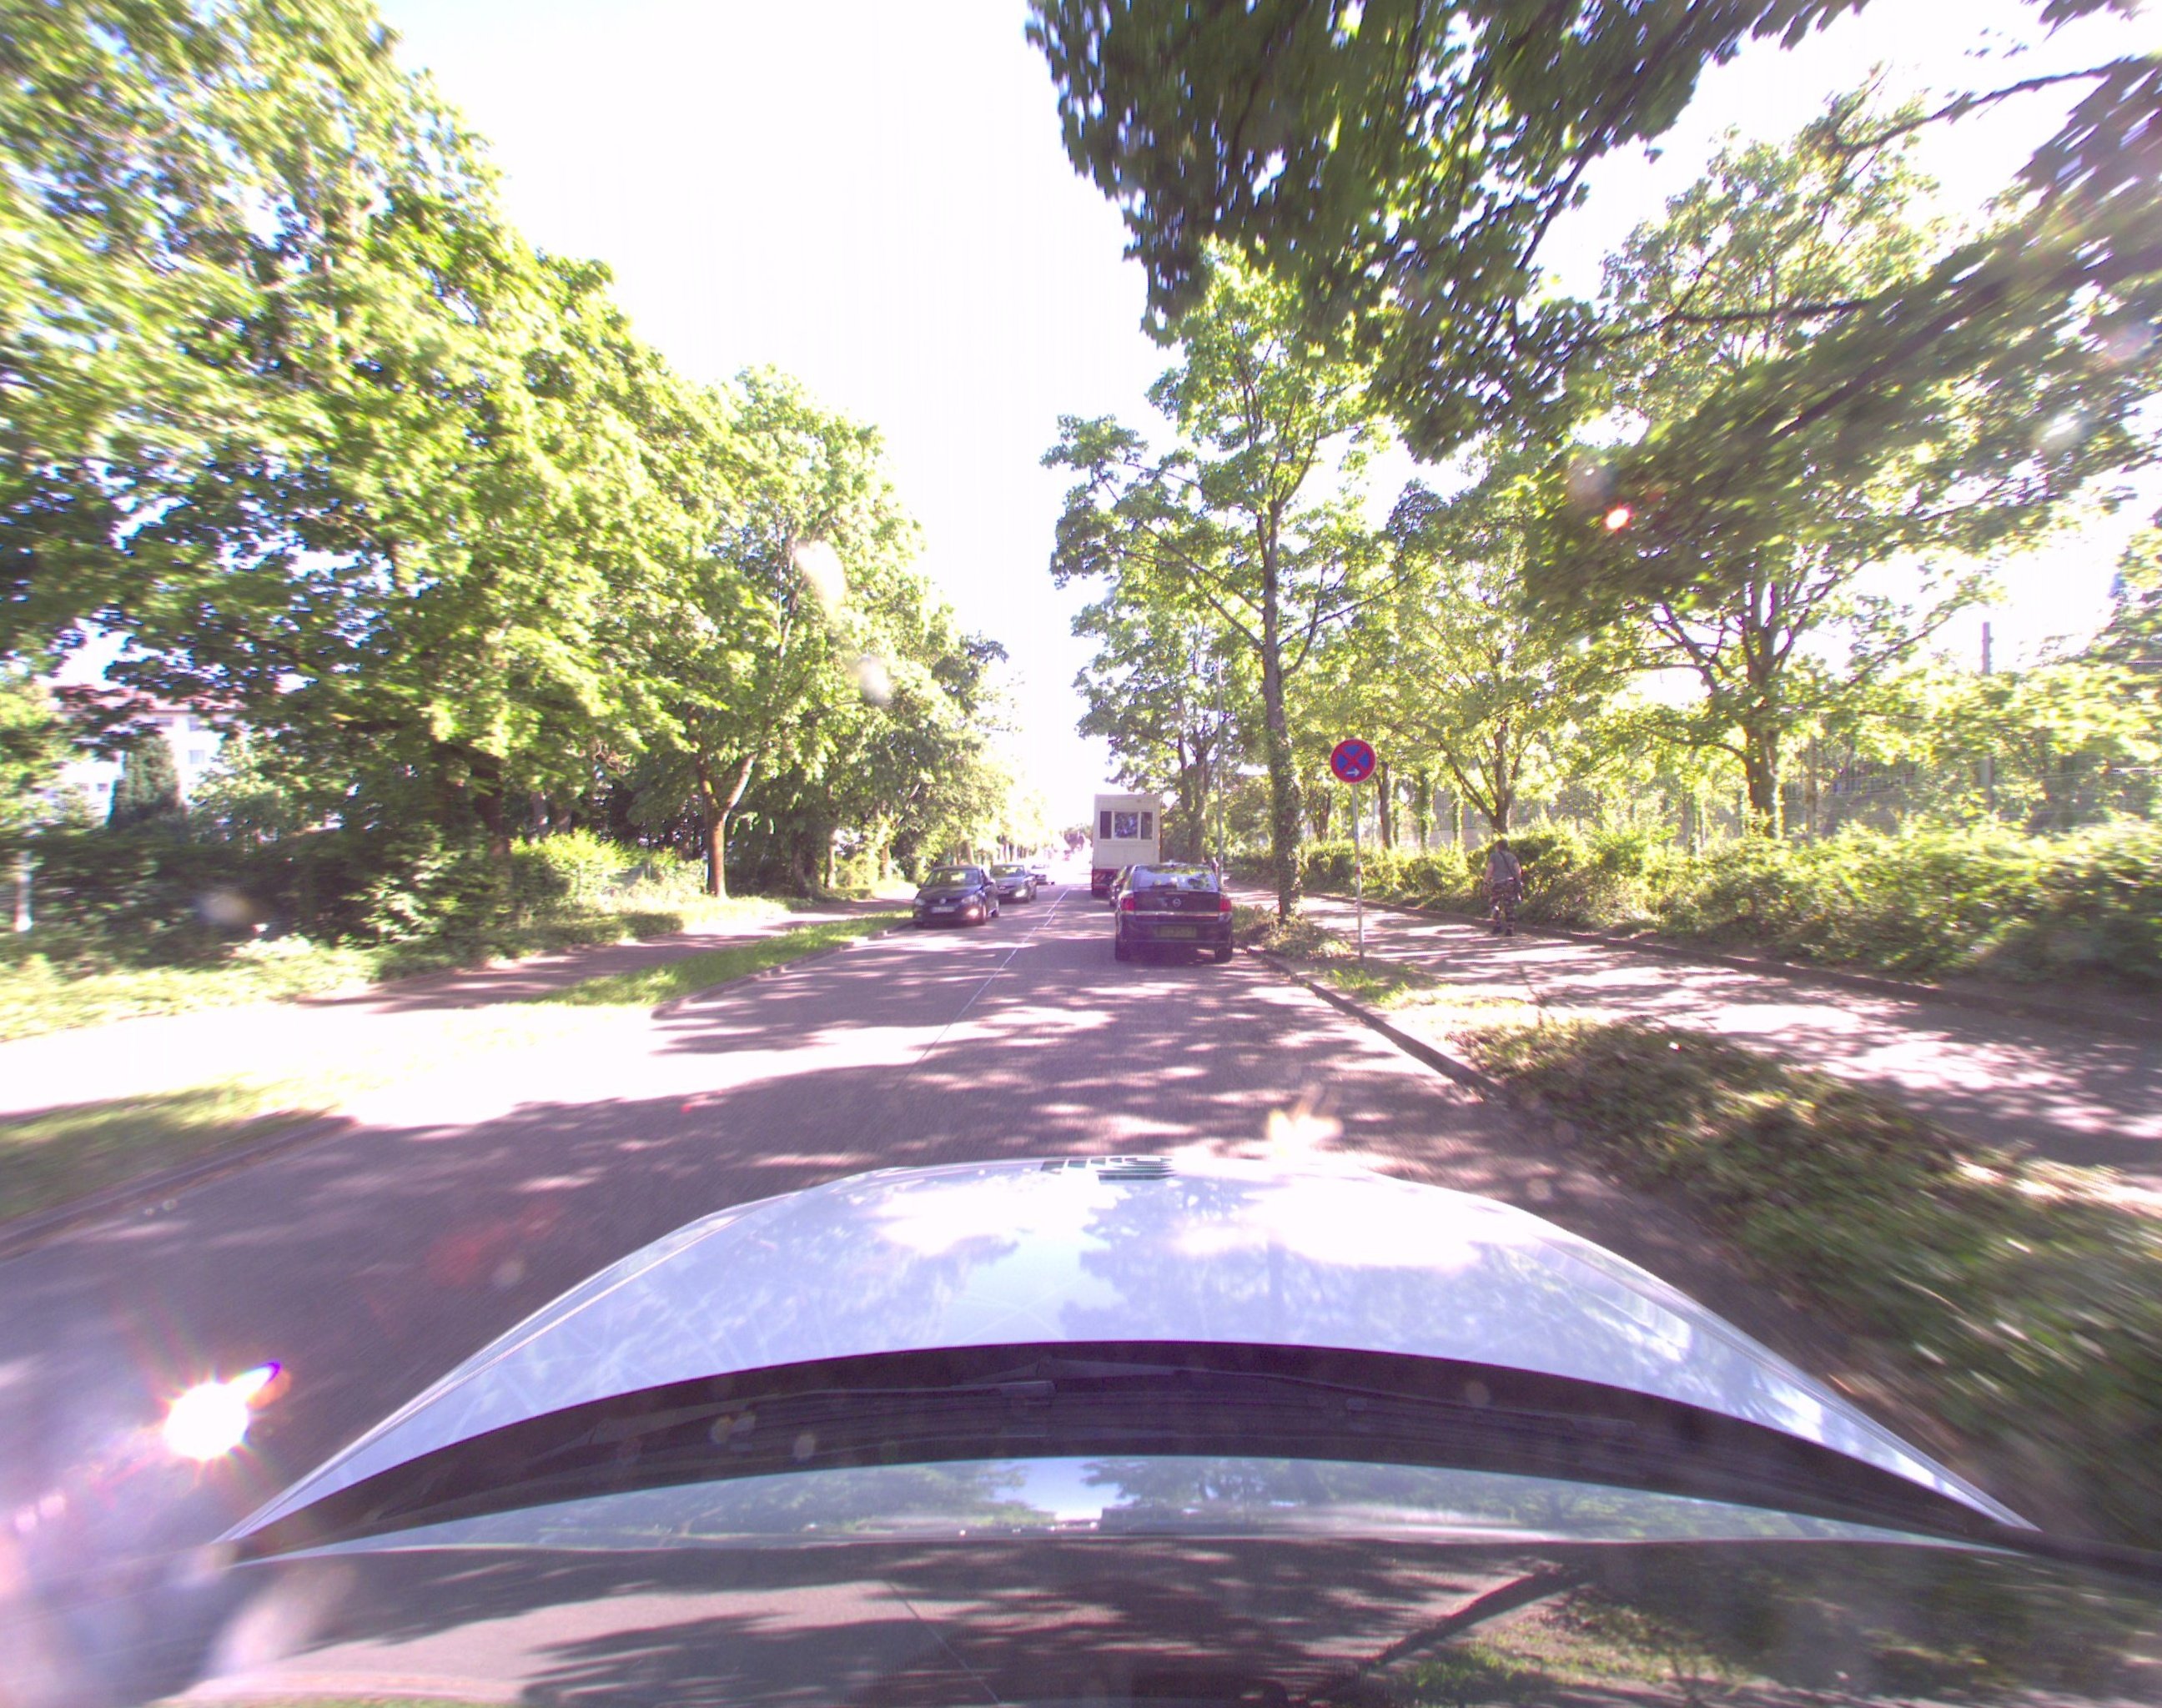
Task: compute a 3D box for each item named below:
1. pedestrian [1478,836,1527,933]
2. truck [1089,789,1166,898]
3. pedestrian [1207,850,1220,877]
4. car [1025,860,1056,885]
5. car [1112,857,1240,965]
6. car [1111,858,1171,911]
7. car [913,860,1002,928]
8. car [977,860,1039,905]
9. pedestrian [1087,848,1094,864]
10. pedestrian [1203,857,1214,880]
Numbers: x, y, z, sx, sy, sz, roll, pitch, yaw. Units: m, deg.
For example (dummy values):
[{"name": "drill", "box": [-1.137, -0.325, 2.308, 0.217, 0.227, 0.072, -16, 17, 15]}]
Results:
[{"name": "pedestrian", "box": [7.137, 0.507, 13.813, 0.568, 1.608, 0.673, 0, 0, 10]}, {"name": "truck", "box": [1.788, -0.410, 35.420, 2.764, 3.996, 10.347, 1, 0, 0]}, {"name": "pedestrian", "box": [9.150, 0.632, 56.258, 0.696, 1.812, 0.699, -2, 0, -2]}, {"name": "car", "box": [-2.564, 1.125, 51.960, 1.782, 1.416, 4.102, -2, 0, -1]}, {"name": "car", "box": [1.405, 0.803, 13.230, 1.741, 1.480, 4.033, 0, -1, 3]}, {"name": "car", "box": [1.813, 0.872, 25.153, 1.633, 1.420, 4.003, -2, 0, 3]}, {"name": "car", "box": [-2.953, 0.912, 20.092, 1.596, 1.426, 3.651, -2, 0, 0]}, {"name": "car", "box": [-2.645, 1.000, 30.401, 1.748, 1.454, 4.245, -2, 0, 2]}, {"name": "pedestrian", "box": [1.311, 0.258, 112.202, 0.749, 2.113, 0.800, 1, 0, 3]}, {"name": "pedestrian", "box": [8.789, 0.990, 56.163, 0.597, 1.611, 0.599, -2, 0, -2]}]
